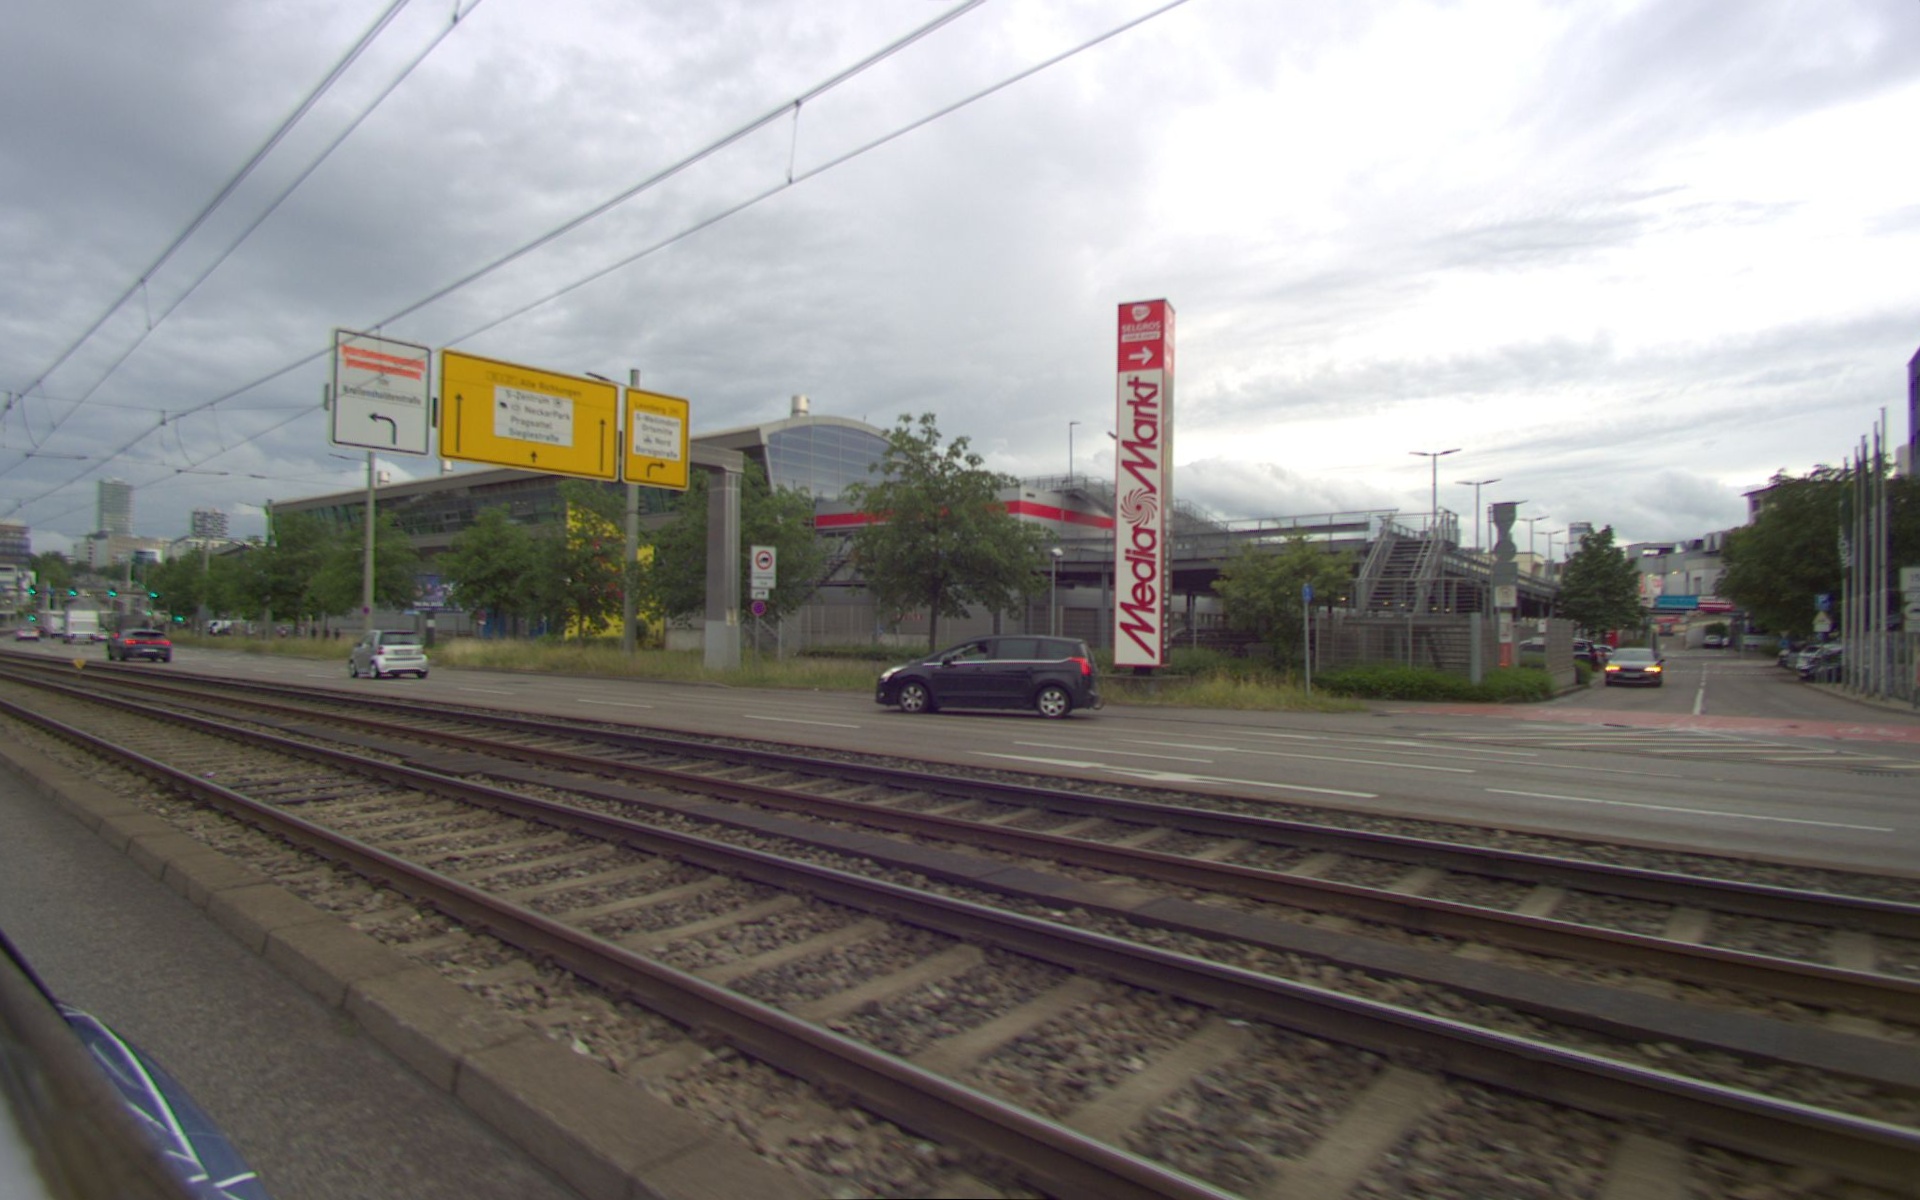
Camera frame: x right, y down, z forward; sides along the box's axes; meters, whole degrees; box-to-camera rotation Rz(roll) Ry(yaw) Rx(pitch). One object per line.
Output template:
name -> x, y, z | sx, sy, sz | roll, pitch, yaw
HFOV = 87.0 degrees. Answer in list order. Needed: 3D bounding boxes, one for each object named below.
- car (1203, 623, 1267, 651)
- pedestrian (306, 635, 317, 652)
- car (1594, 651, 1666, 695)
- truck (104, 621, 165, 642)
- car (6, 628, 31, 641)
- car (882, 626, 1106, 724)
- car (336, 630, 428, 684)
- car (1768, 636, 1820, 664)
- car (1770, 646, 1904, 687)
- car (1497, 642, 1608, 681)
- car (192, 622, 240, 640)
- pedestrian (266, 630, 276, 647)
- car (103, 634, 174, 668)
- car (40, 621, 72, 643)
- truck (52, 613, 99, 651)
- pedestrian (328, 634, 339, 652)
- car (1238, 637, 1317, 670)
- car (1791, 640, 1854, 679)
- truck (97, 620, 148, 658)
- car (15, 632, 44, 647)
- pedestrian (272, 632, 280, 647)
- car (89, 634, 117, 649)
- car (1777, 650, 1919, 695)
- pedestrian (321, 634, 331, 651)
car -> 20.039, 2.692, 73.817 | 3.997, 2.029, 1.973 | -2, -3, 40
pedestrian -> -57.230, 3.815, 89.297 | 0.651, 1.467, 0.507 | -1, 0, 31
car -> 24.291, 2.670, 36.633 | 1.728, 1.476, 3.946 | -1, -5, 40
truck -> -152.827, 5.945, 187.564 | 4.025, 3.785, 10.878 | 1, -2, -11
car -> -122.444, 4.506, 131.647 | 4.677, 1.745, 1.972 | -2, -4, 43
car -> 0.745, 1.454, 20.027 | 4.167, 1.749, 1.993 | 1, -4, 11
car -> -18.347, 1.796, 32.113 | 2.949, 1.548, 1.581 | 0, -4, 41
car -> 50.354, 2.993, 61.200 | 1.995, 1.490, 4.117 | -1, 0, 34
car -> 37.308, 2.806, 43.173 | 3.984, 1.581, 1.749 | -1, 0, 30
car -> 26.542, 2.770, 45.477 | 3.967, 1.638, 1.773 | -1, -1, 18
car -> -103.014, 4.304, 140.155 | 1.988, 2.350, 5.022 | -1, -3, 24
pedestrian -> -66.102, 3.681, 97.091 | 0.626, 1.575, 0.675 | -1, 0, 41
car -> -36.697, 2.258, 45.187 | 4.235, 1.440, 1.783 | -2, -4, 42
car -> -107.979, 3.821, 120.884 | 2.404, 2.519, 6.551 | 4, -4, -45
truck -> -85.989, 3.086, 98.393 | 7.155, 3.383, 2.696 | 1, -2, 44
pedestrian -> -53.731, 3.688, 86.783 | 0.744, 1.450, 0.602 | -1, 0, 37
car -> 14.807, 2.455, 47.428 | 1.636, 1.292, 4.118 | -1, 0, -12
car -> 44.473, 3.029, 52.273 | 1.995, 1.754, 3.954 | -1, 0, 34
truck -> -59.343, 2.751, 71.645 | 2.212, 2.584, 7.020 | 2, -3, -44
car -> -96.231, 4.079, 104.662 | 4.441, 1.510, 1.786 | -2, -5, 43
pedestrian -> -69.119, 3.974, 102.243 | 0.758, 1.509, 0.542 | -1, 0, 44
car -> -91.021, 4.418, 107.449 | 4.425, 1.500, 1.876 | -2, -3, 45
car -> 35.382, 2.865, 40.432 | 3.984, 1.581, 1.749 | -1, 0, 30
pedestrian -> -56.285, 3.789, 89.836 | 0.651, 1.467, 0.447 | -1, 0, 31
